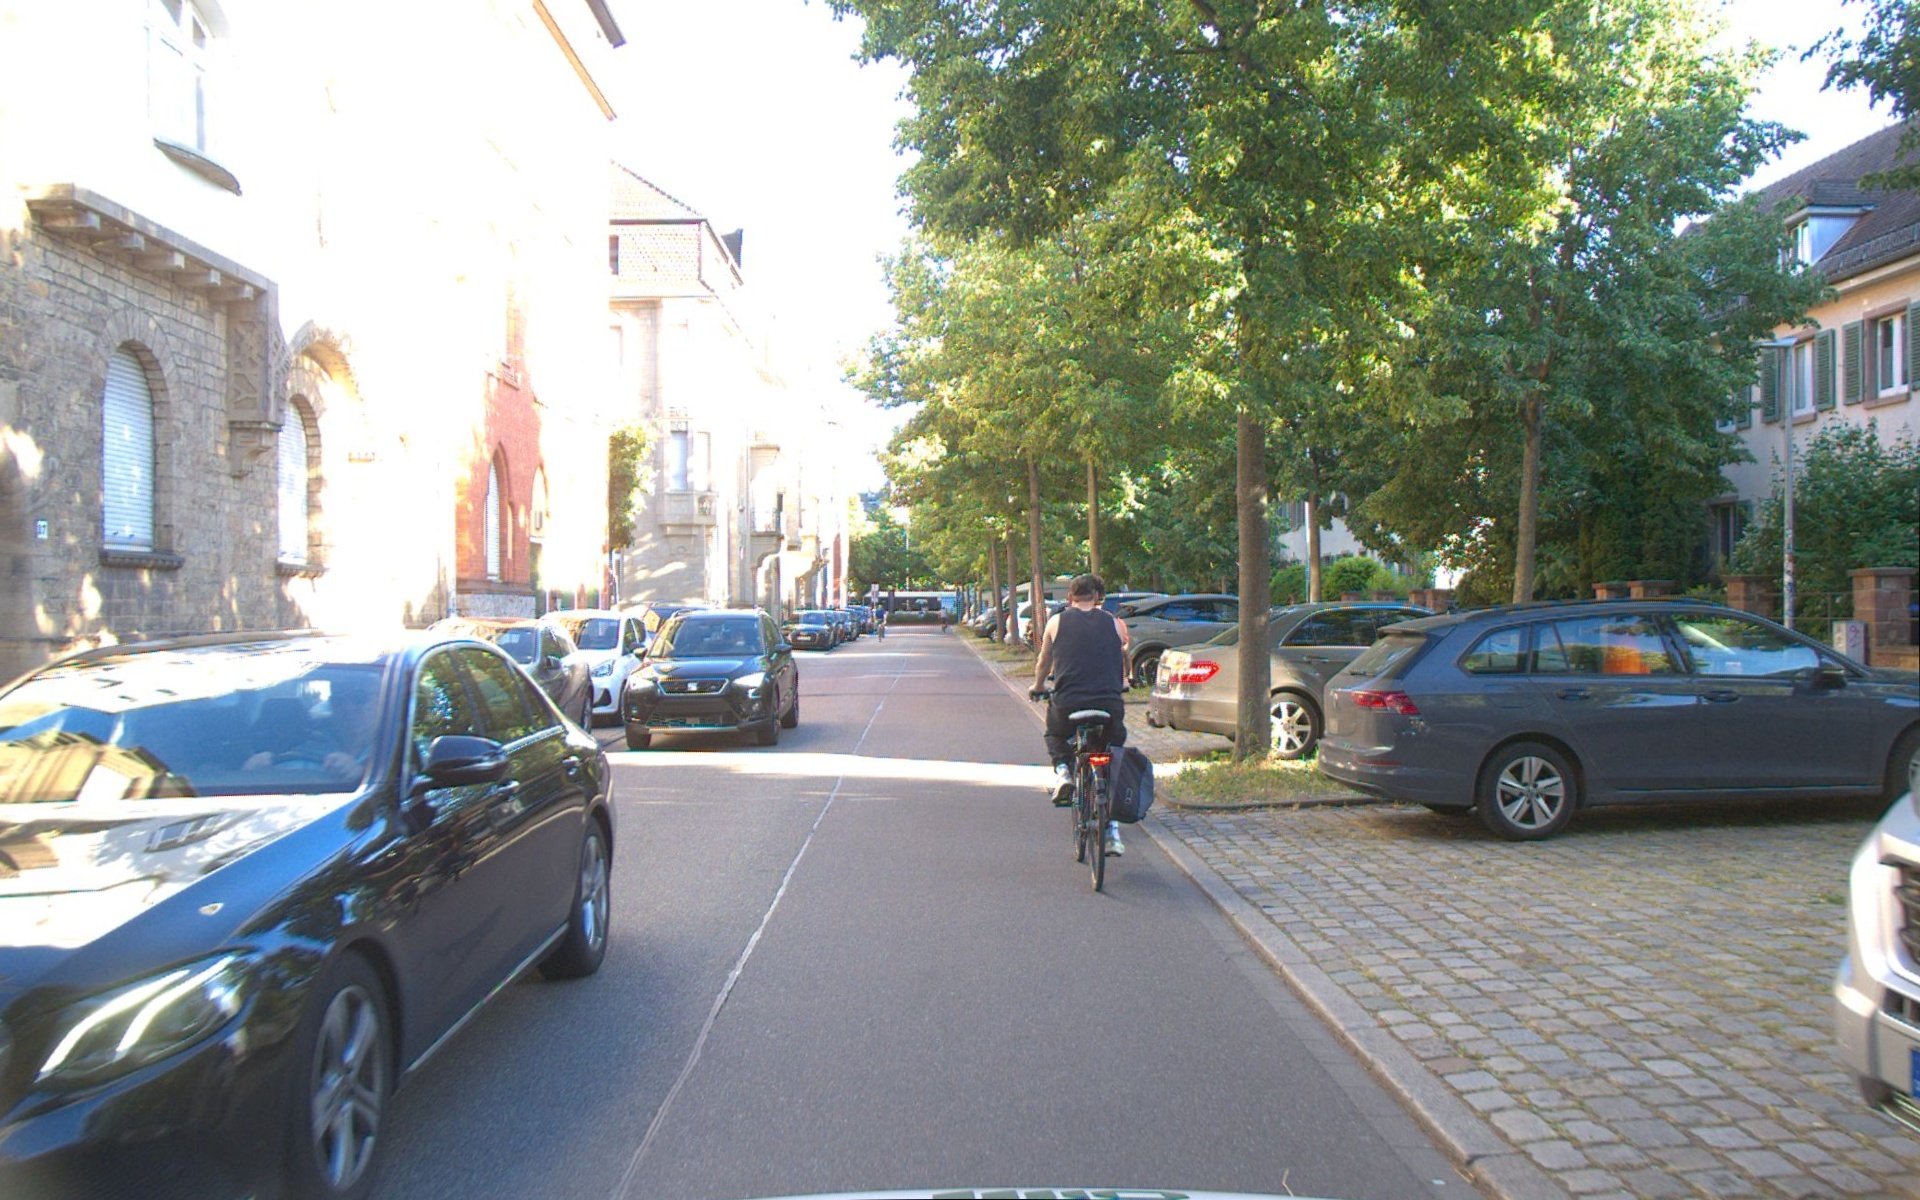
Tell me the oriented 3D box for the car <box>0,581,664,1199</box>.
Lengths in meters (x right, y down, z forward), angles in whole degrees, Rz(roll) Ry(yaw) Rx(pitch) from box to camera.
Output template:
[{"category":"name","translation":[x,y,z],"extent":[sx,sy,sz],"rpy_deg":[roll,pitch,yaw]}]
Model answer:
[{"category":"car","translation":[-2.295,0.802,5.430],"extent":[1.858,1.512,4.380],"rpy_deg":[-2,-1,-1]}]

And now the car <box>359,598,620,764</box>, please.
[{"category":"car","translation":[-5.085,0.832,18.466],"extent":[1.719,1.544,4.113],"rpy_deg":[3,-1,-1]}]

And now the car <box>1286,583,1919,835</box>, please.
[{"category":"car","translation":[4.597,0.681,11.160],"extent":[4.410,1.478,1.816],"rpy_deg":[-1,-1,0]}]

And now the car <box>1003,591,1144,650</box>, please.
[{"category":"car","translation":[3.870,0.722,56.805],"extent":[4.659,1.811,1.854],"rpy_deg":[-2,-1,0]}]

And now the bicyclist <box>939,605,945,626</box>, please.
[{"category":"bicyclist","translation":[-1.209,1.070,113.409],"extent":[0.408,1.374,0.430],"rpy_deg":[-1,-2,-1]}]

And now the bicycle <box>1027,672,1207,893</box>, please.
[{"category":"bicycle","translation":[0.857,0.987,9.573],"extent":[0.682,1.092,1.966],"rpy_deg":[-1,-1,-5]}]

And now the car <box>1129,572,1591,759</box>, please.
[{"category":"car","translation":[3.935,0.638,16.710],"extent":[4.160,1.634,1.752],"rpy_deg":[-2,-1,-4]}]

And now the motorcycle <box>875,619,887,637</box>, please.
[{"category":"motorcycle","translation":[-3.791,1.348,79.414],"extent":[0.540,0.815,1.307],"rpy_deg":[-1,0,-3]}]

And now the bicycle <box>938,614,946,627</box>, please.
[{"category":"bicycle","translation":[-1.243,1.403,113.333],"extent":[0.530,0.842,1.918],"rpy_deg":[0,-1,-1]}]

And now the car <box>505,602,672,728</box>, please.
[{"category":"car","translation":[-5.120,0.861,23.236],"extent":[1.461,1.544,3.774],"rpy_deg":[3,-1,-1]}]

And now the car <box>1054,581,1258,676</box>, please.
[{"category":"car","translation":[4.209,0.627,36.006],"extent":[4.156,1.872,1.854],"rpy_deg":[-2,-1,0]}]

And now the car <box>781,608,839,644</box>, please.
[{"category":"car","translation":[-5.771,1.028,64.139],"extent":[1.931,1.343,3.999],"rpy_deg":[0,-1,-1]}]

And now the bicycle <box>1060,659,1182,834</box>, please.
[{"category":"bicycle","translation":[1.130,1.008,11.959],"extent":[0.544,1.091,1.967],"rpy_deg":[-1,0,-4]}]

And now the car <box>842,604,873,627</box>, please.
[{"category":"car","translation":[-6.990,1.079,112.970],"extent":[1.953,1.557,3.999],"rpy_deg":[0,-1,-1]}]

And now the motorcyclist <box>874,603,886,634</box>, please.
[{"category":"motorcyclist","translation":[-3.827,0.904,79.427],"extent":[0.540,1.474,0.688],"rpy_deg":[-1,0,-4]}]

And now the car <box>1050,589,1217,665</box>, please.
[{"category":"car","translation":[4.549,0.714,43.817],"extent":[4.156,1.828,1.854],"rpy_deg":[-2,-1,0]}]

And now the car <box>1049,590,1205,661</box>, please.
[{"category":"car","translation":[4.663,0.722,46.551],"extent":[4.156,1.828,1.854],"rpy_deg":[-2,-1,0]}]

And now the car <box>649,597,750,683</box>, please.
[{"category":"car","translation":[-5.414,0.840,34.752],"extent":[1.598,1.694,3.966],"rpy_deg":[-1,-1,-2]}]

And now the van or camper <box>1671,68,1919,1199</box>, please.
[{"category":"van or camper","translation":[4.776,0.042,3.499],"extent":[5.463,2.581,2.267],"rpy_deg":[-3,-1,-3]}]

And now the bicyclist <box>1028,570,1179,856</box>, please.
[{"category":"bicyclist","translation":[0.807,0.625,9.538],"extent":[0.692,1.553,0.971],"rpy_deg":[-1,-1,-5]}]

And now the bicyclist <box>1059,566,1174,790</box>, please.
[{"category":"bicyclist","translation":[1.124,0.555,12.074],"extent":[0.704,1.553,0.971],"rpy_deg":[-1,-1,-2]}]

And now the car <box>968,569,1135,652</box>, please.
[{"category":"car","translation":[4.008,0.476,73.338],"extent":[7.183,3.339,2.223],"rpy_deg":[-2,-1,0]}]

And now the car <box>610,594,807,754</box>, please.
[{"category":"car","translation":[-2.905,0.828,19.915],"extent":[1.731,1.627,4.089],"rpy_deg":[-3,-1,-1]}]

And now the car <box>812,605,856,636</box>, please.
[{"category":"car","translation":[-6.333,1.056,83.688],"extent":[1.953,1.557,3.999],"rpy_deg":[0,-1,-1]}]

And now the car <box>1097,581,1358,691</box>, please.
[{"category":"car","translation":[4.554,0.621,28.603],"extent":[4.156,1.676,1.854],"rpy_deg":[-2,-1,0]}]
